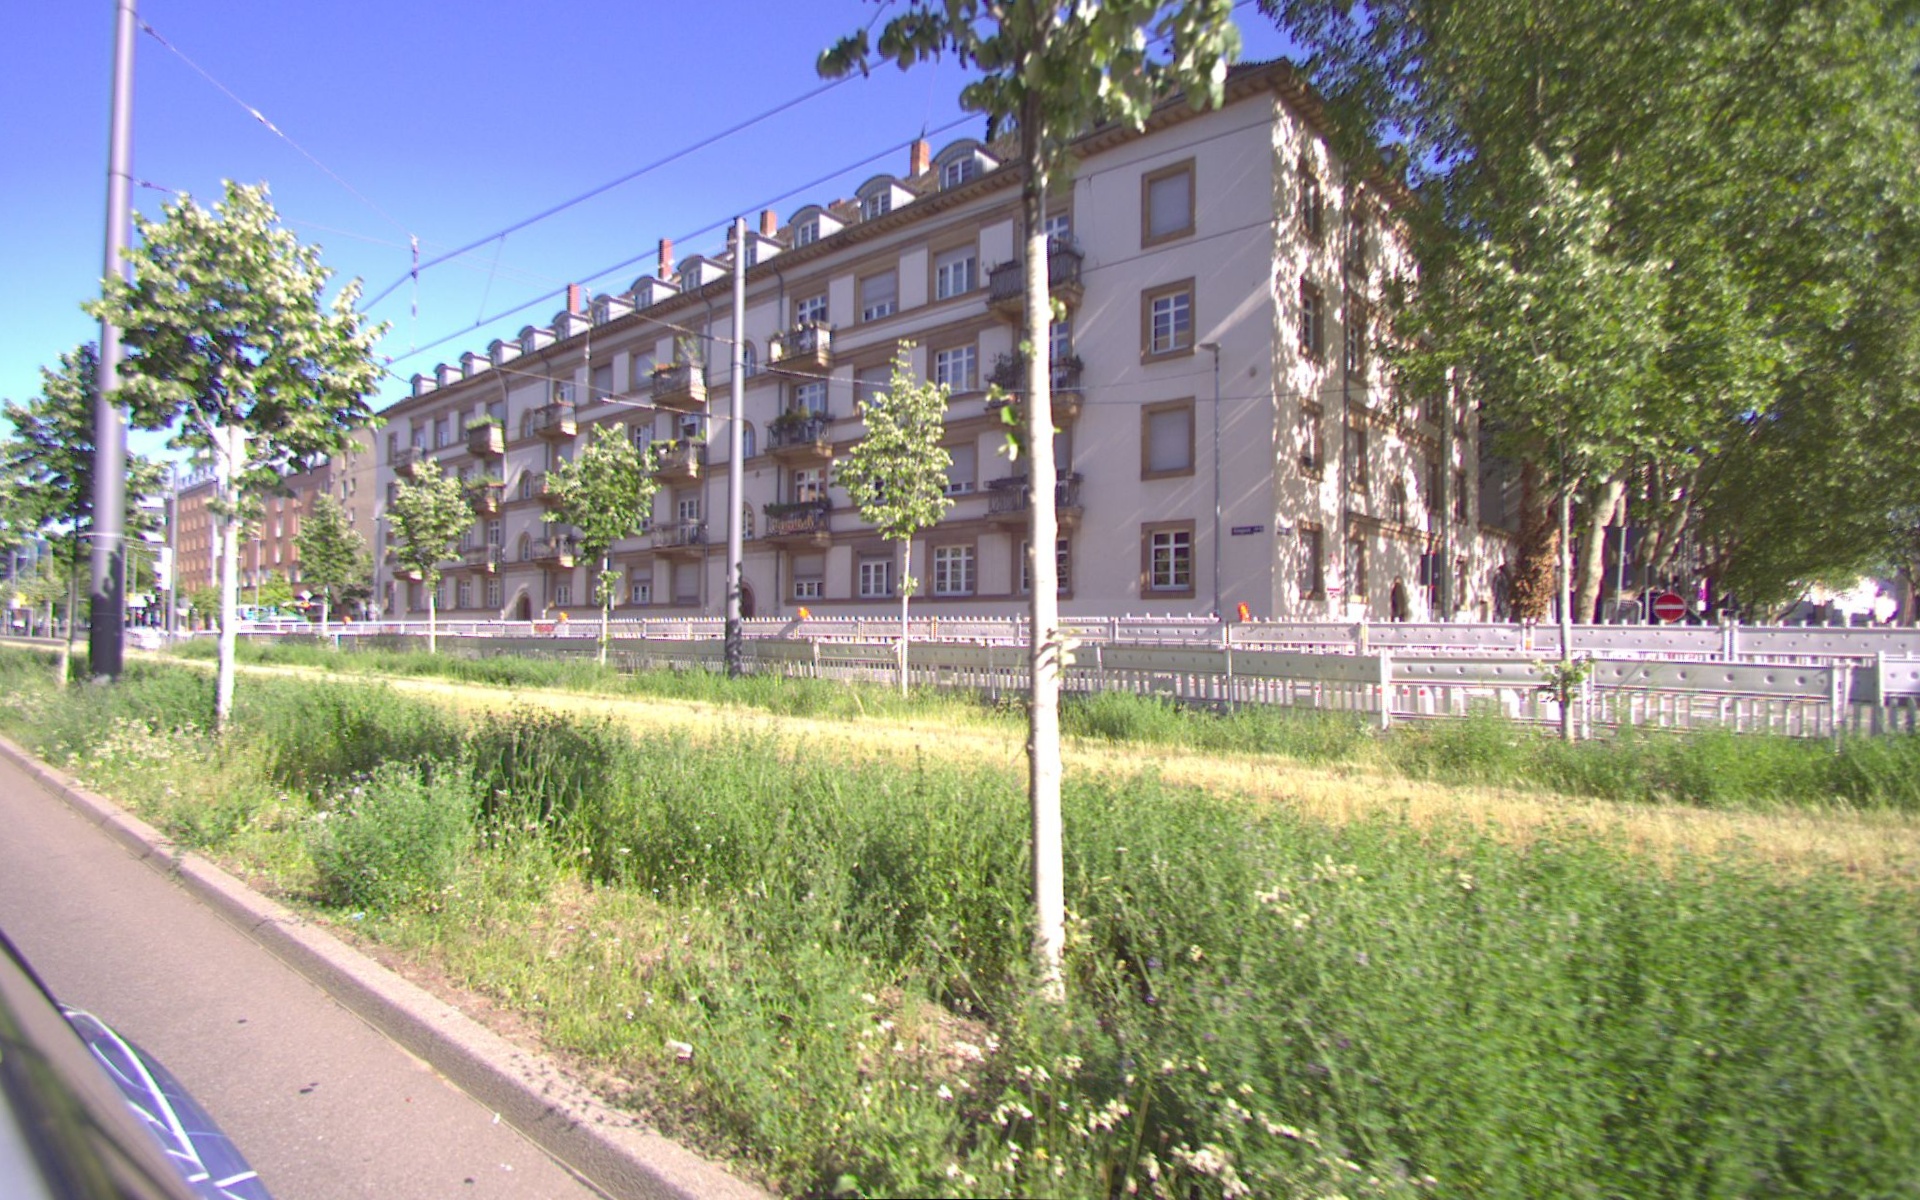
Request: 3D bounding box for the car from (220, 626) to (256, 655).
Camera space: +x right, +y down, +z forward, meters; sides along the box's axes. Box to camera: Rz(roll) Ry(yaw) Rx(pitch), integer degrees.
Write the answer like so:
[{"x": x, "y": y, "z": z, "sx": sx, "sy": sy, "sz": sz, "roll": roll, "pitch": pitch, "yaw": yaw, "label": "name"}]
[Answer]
[{"x": -60.929, "y": 3.376, "z": 85.349, "sx": 1.969, "sy": 2.314, "sz": 5.196, "roll": 1, "pitch": -1, "yaw": -41, "label": "car"}]
